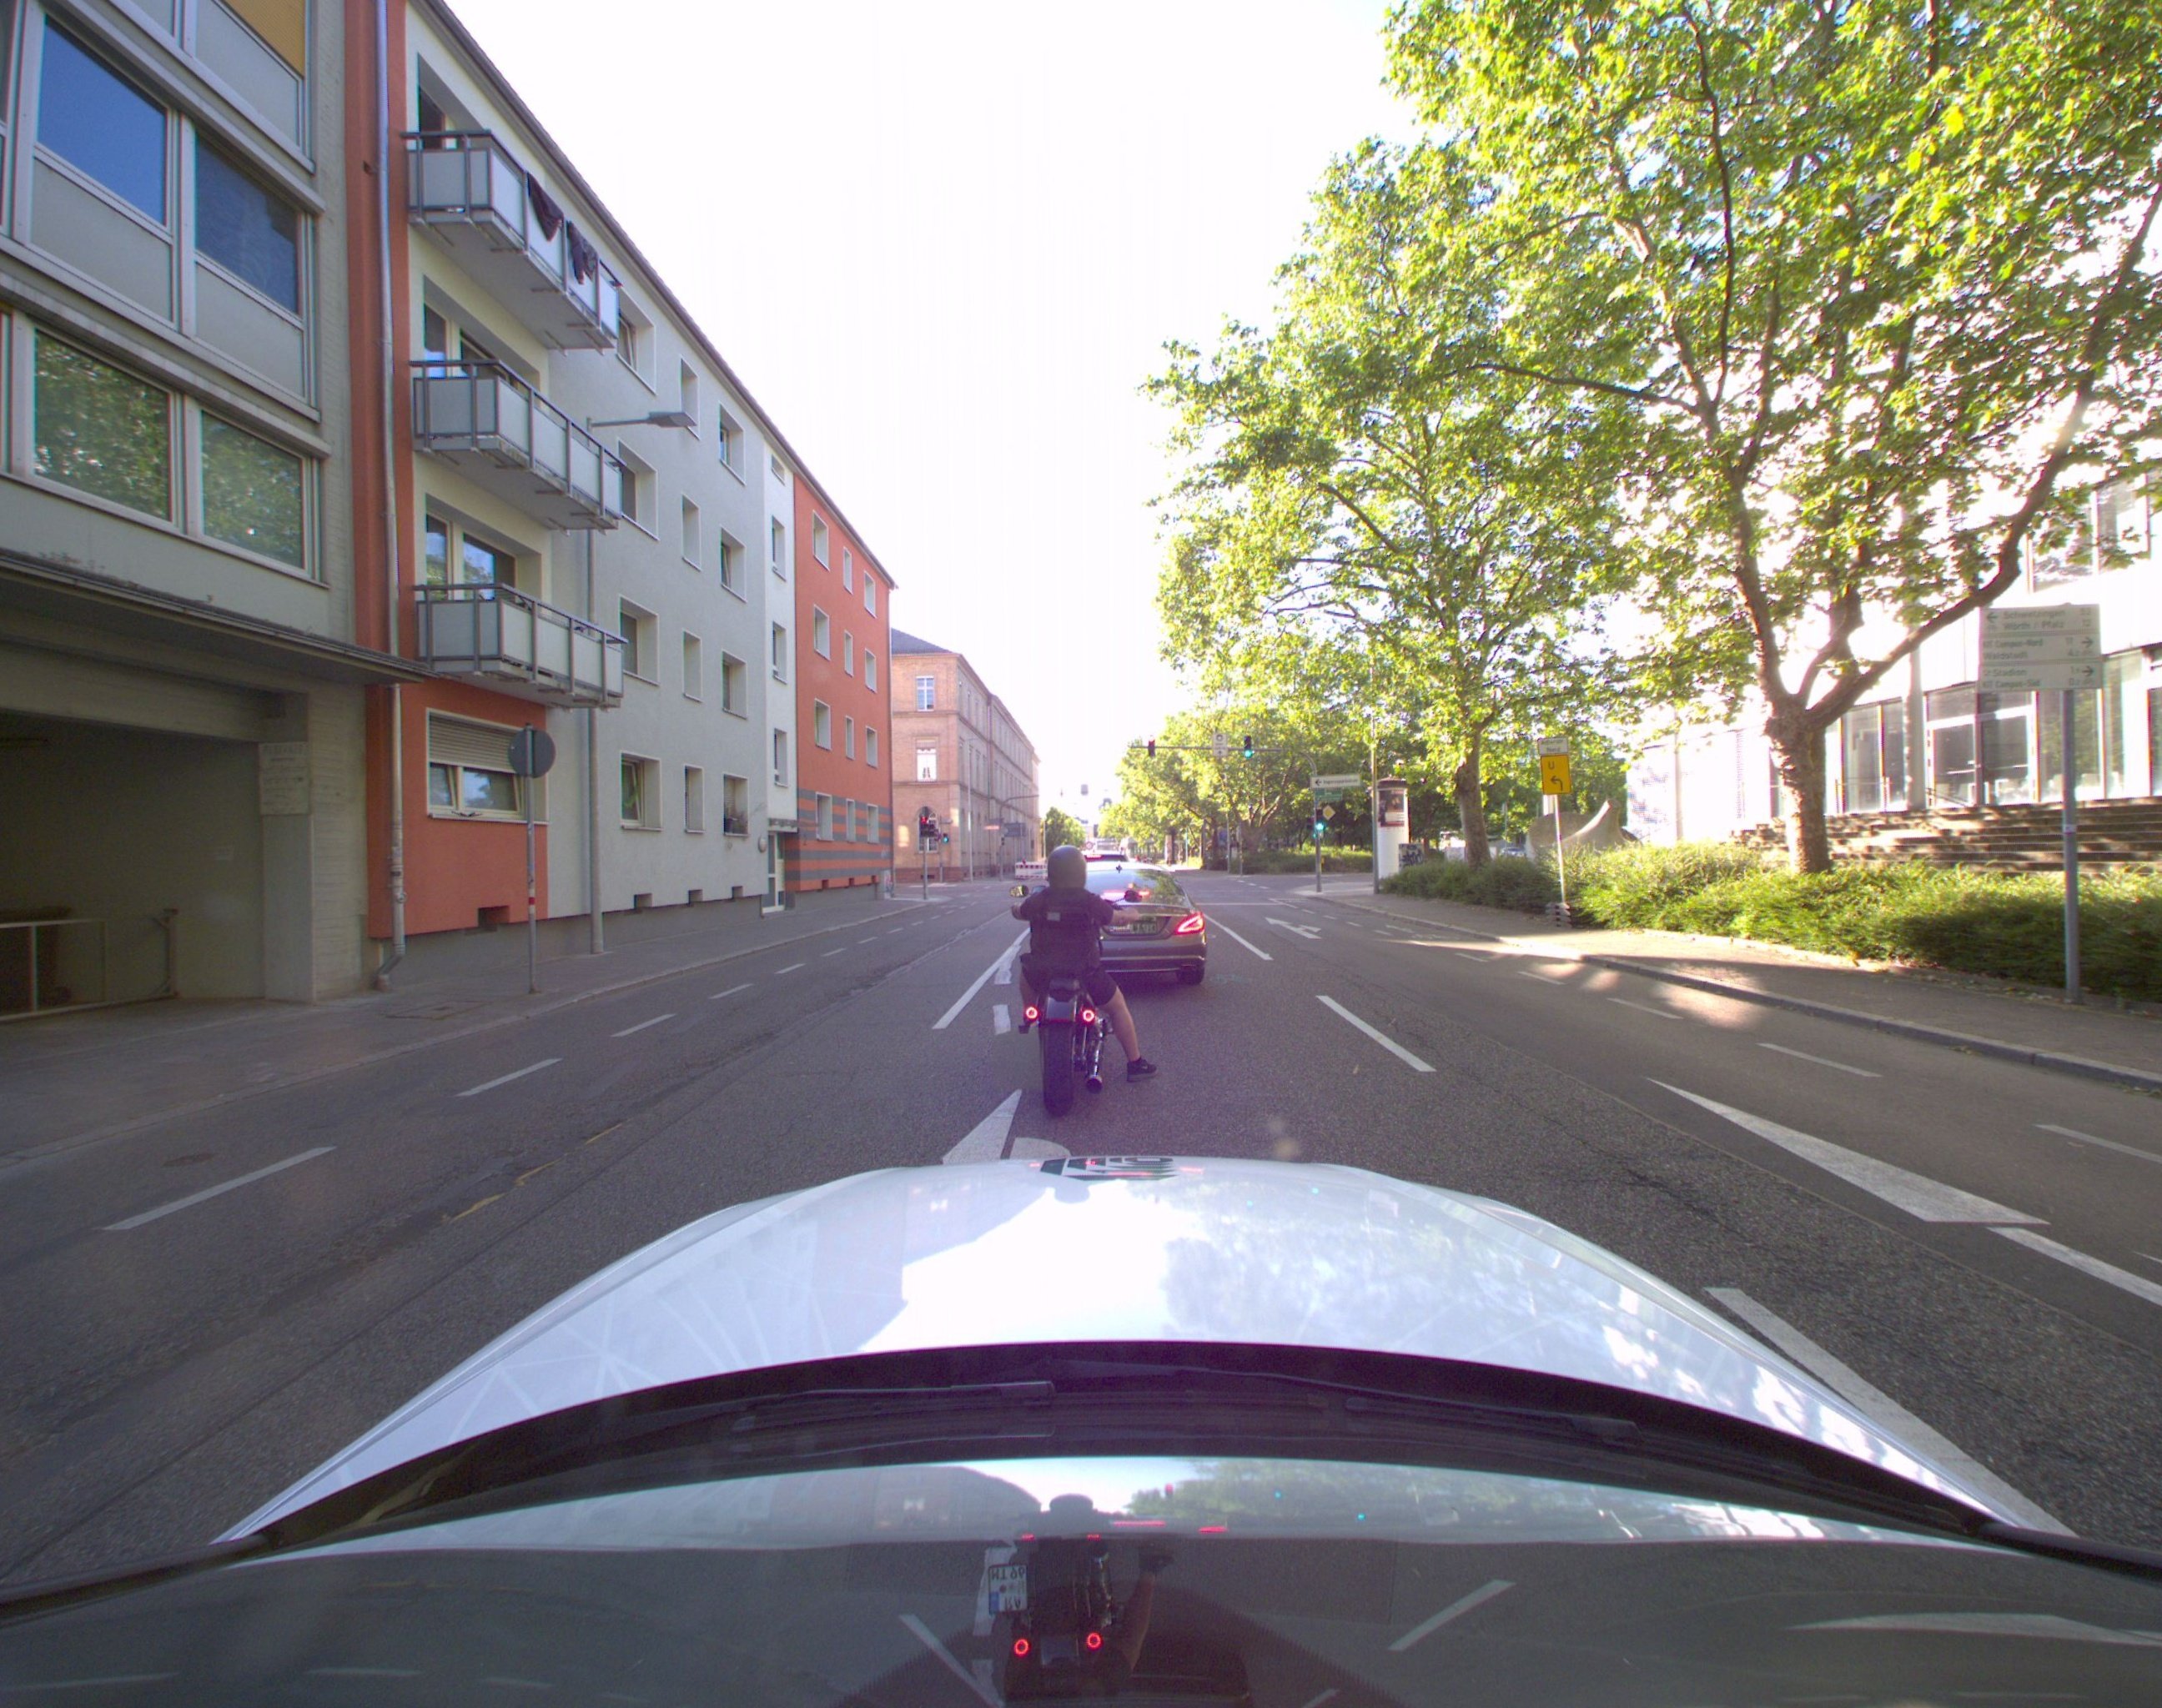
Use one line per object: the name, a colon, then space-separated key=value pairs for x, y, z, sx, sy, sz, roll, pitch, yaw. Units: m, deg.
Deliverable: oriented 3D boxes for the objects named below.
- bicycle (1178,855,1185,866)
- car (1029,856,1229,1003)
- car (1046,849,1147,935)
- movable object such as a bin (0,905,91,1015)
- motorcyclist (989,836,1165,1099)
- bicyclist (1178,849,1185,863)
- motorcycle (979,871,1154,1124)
bicycle: x=11.535 y=0.744 z=93.191 sx=0.712 sy=1.172 sz=2.179 roll=0 pitch=-1 yaw=6
car: x=0.370 y=0.769 z=10.479 sx=1.899 sy=1.441 sz=4.280 roll=-1 pitch=0 yaw=-6
car: x=0.265 y=0.700 z=16.895 sx=1.808 sy=1.536 sz=3.847 roll=-1 pitch=0 yaw=-1
movable object such as a bin: x=-11.329 y=1.104 z=8.648 sx=0.736 sy=1.074 sz=0.716 roll=0 pitch=-1 yaw=2
motorcyclist: x=-0.010 y=0.692 z=5.390 sx=1.057 sy=1.582 sz=0.908 roll=0 pitch=-1 yaw=1
bicyclist: x=11.536 y=0.280 z=93.204 sx=0.713 sy=1.582 sz=0.937 roll=0 pitch=-1 yaw=5
motorcycle: x=-0.045 y=0.817 z=5.660 sx=0.958 sy=1.357 sz=2.321 roll=0 pitch=-1 yaw=2
